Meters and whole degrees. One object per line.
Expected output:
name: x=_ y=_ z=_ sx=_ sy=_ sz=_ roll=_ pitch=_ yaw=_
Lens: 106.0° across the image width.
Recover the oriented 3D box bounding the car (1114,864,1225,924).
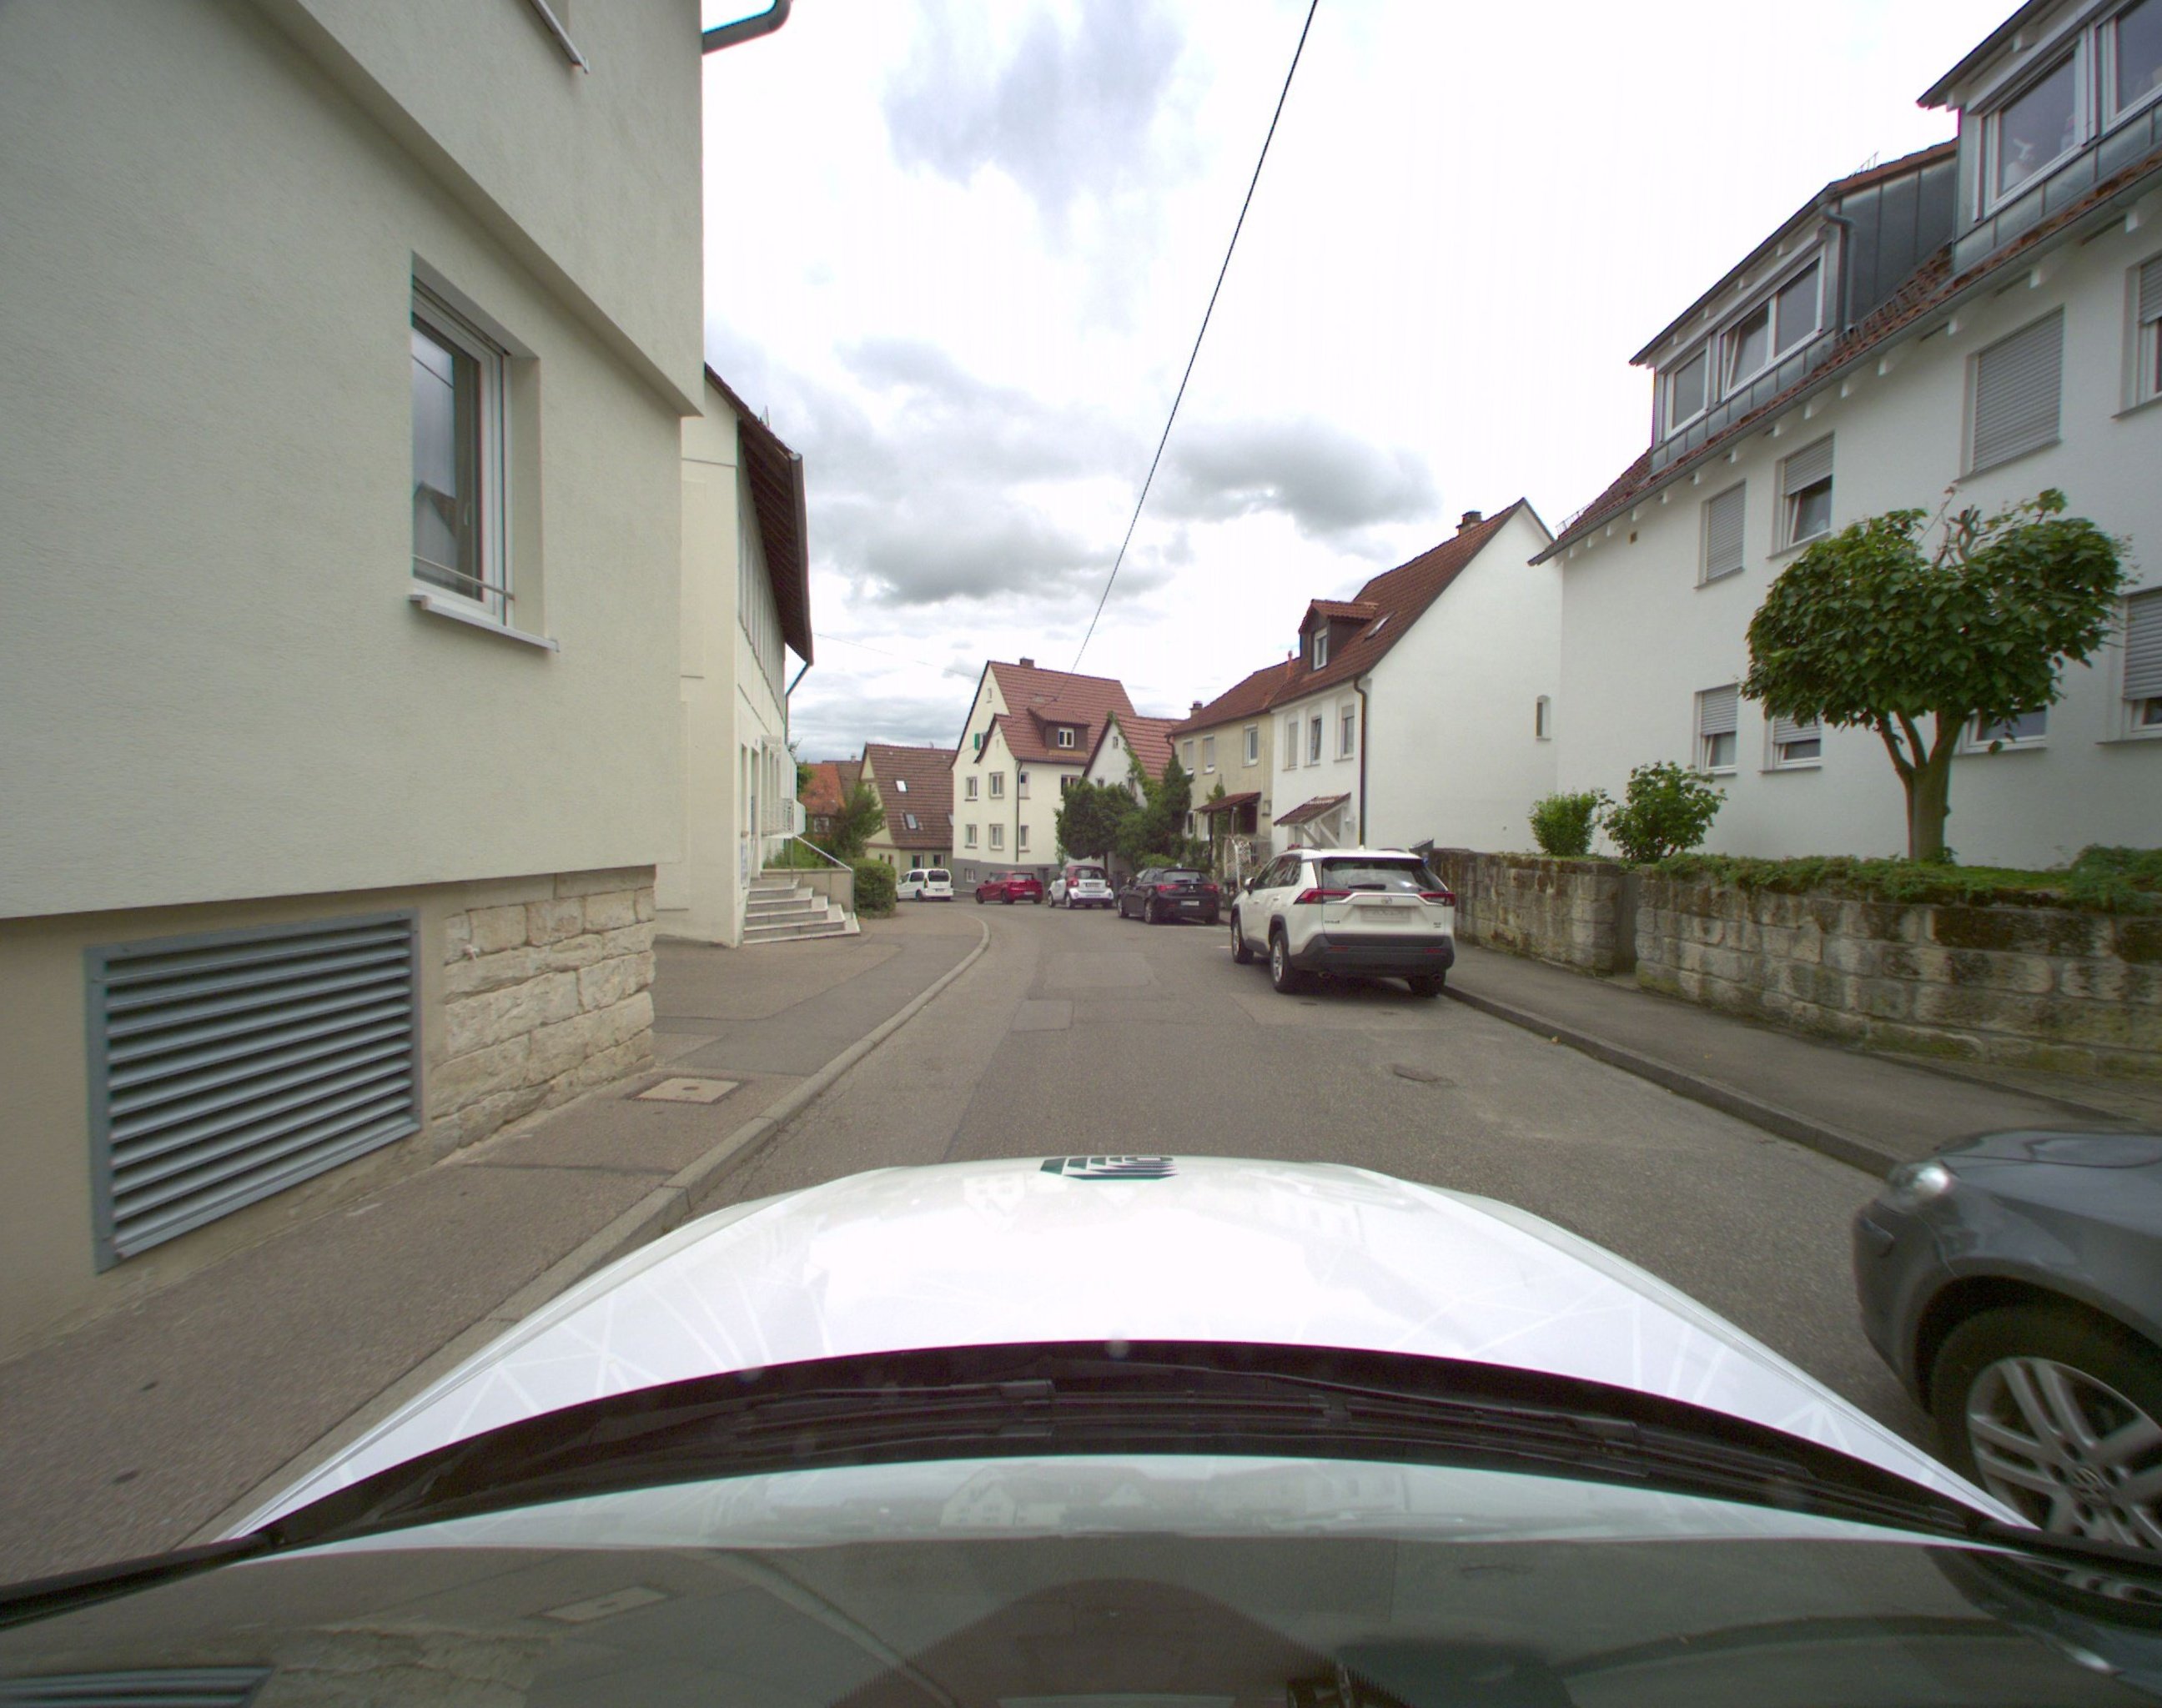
car: x=2.216 y=0.996 z=21.485 sx=1.720 sy=1.407 sz=3.985 roll=1 pitch=-1 yaw=-13

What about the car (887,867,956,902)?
car: x=-8.720 y=1.668 z=44.268 sx=1.850 sy=1.815 sz=4.253 roll=1 pitch=-3 yaw=-40

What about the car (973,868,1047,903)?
car: x=-3.196 y=1.413 z=35.918 sx=1.690 sy=1.452 sz=3.812 roll=1 pitch=-3 yaw=-32

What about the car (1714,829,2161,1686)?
car: x=2.860 y=0.768 z=0.597 sx=1.729 sy=1.564 sz=3.908 roll=2 pitch=0 yaw=0

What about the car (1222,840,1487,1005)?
car: x=3.203 y=0.693 z=10.614 sx=1.939 sy=1.639 sz=4.460 roll=2 pitch=0 yaw=0

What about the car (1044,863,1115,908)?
car: x=-0.091 y=1.167 z=29.827 sx=1.618 sy=1.533 sz=2.875 roll=3 pitch=-3 yaw=-22

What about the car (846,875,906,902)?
car: x=-12.215 y=2.053 z=48.440 sx=1.748 sy=1.506 sz=4.001 roll=2 pitch=-4 yaw=-43

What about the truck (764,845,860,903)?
truck: x=-17.826 y=1.394 z=53.597 sx=2.700 sy=3.598 sz=8.004 roll=1 pitch=-3 yaw=-45
